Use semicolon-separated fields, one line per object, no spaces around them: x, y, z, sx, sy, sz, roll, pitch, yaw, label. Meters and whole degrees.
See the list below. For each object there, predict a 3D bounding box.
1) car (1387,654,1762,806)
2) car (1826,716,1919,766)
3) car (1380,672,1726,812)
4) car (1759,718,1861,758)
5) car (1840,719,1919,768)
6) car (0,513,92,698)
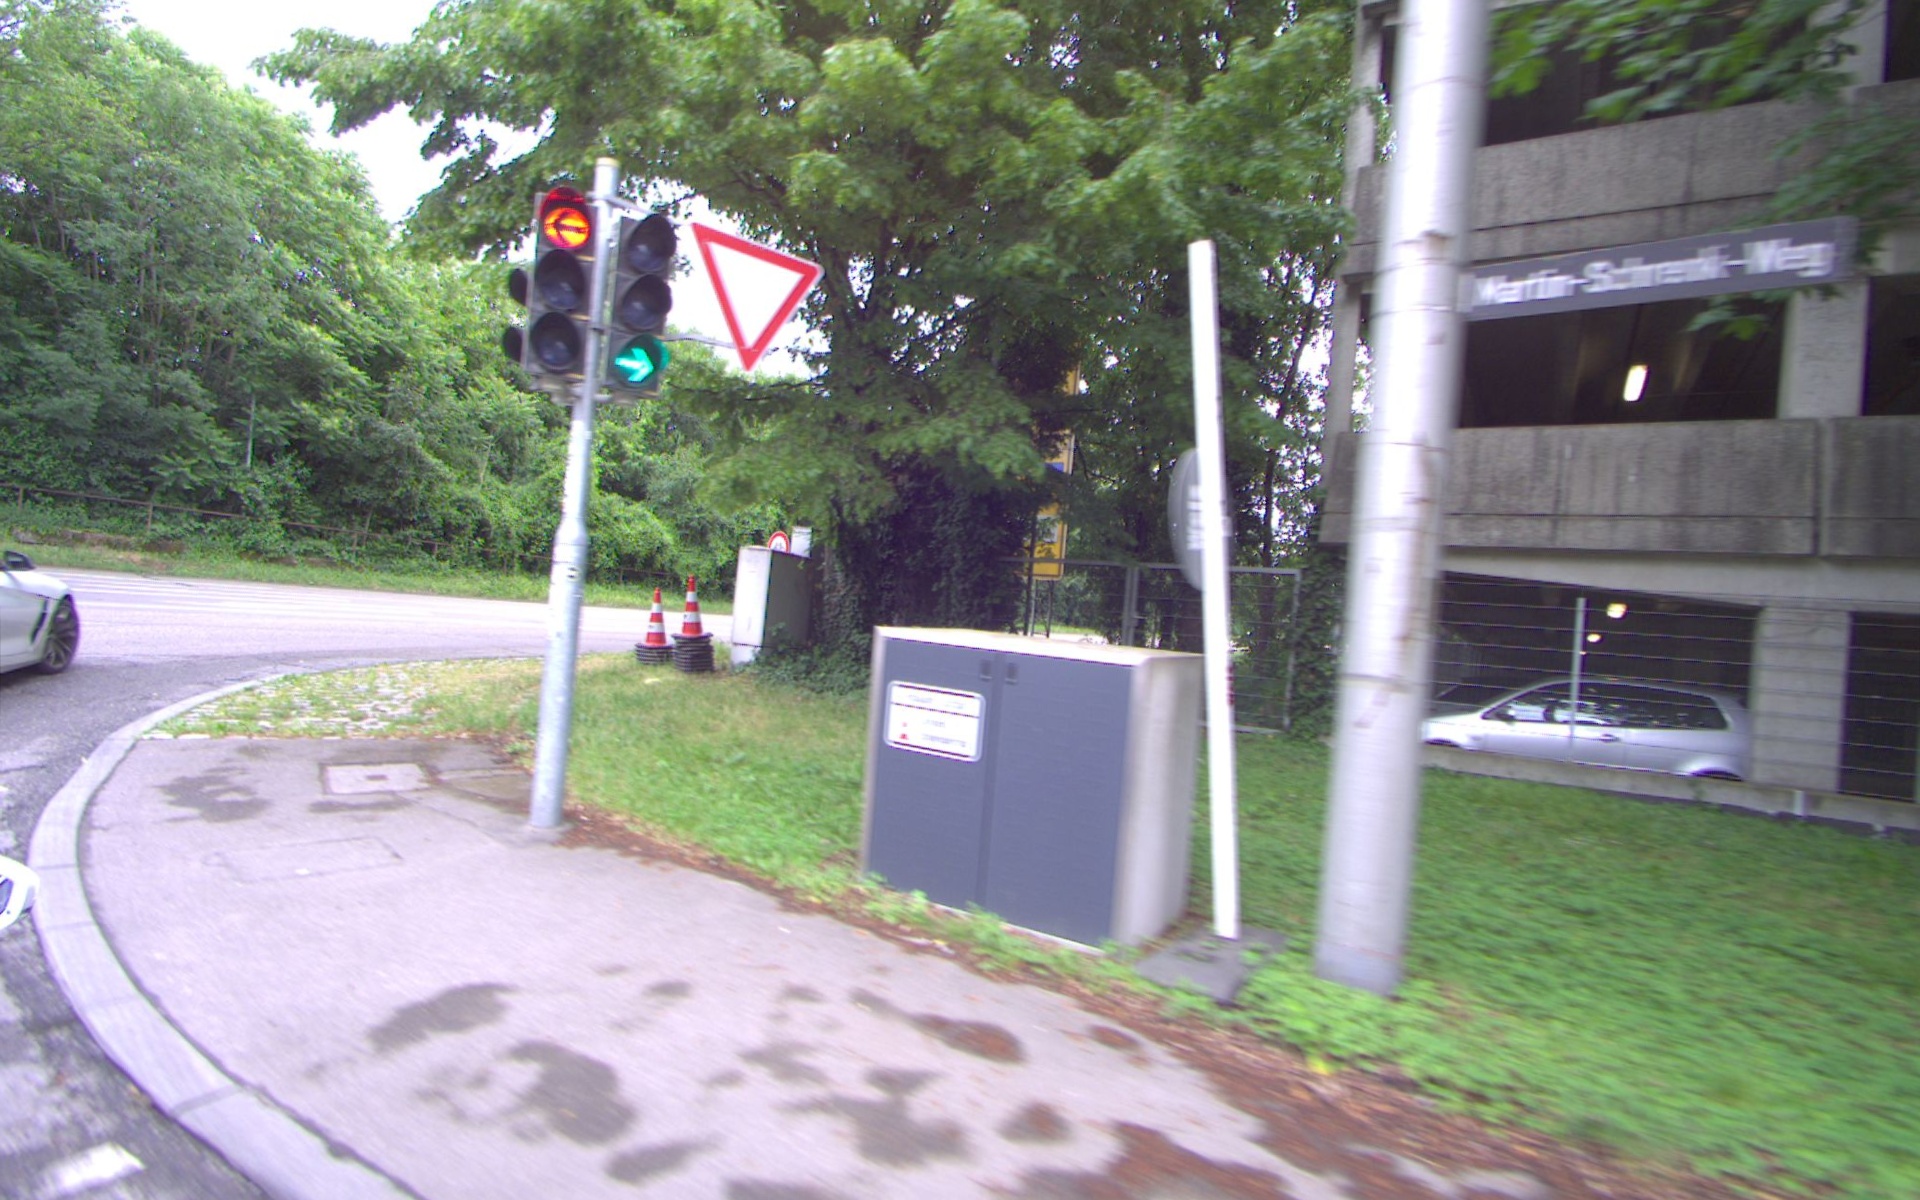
6.536;1.328;10.988;3.201;1.100;1.535;5;-1;31;car
34.594;5.248;37.134;3.613;1.500;1.671;4;-2;30;car
7.554;1.739;13.060;3.582;1.176;1.618;5;-1;33;car
42.055;6.799;49.865;3.617;1.458;1.669;4;-2;35;car
31.743;4.856;33.275;3.613;1.367;1.671;4;-2;30;car
-7.673;-0.051;6.820;1.859;1.325;3.845;6;-1;-29;car
